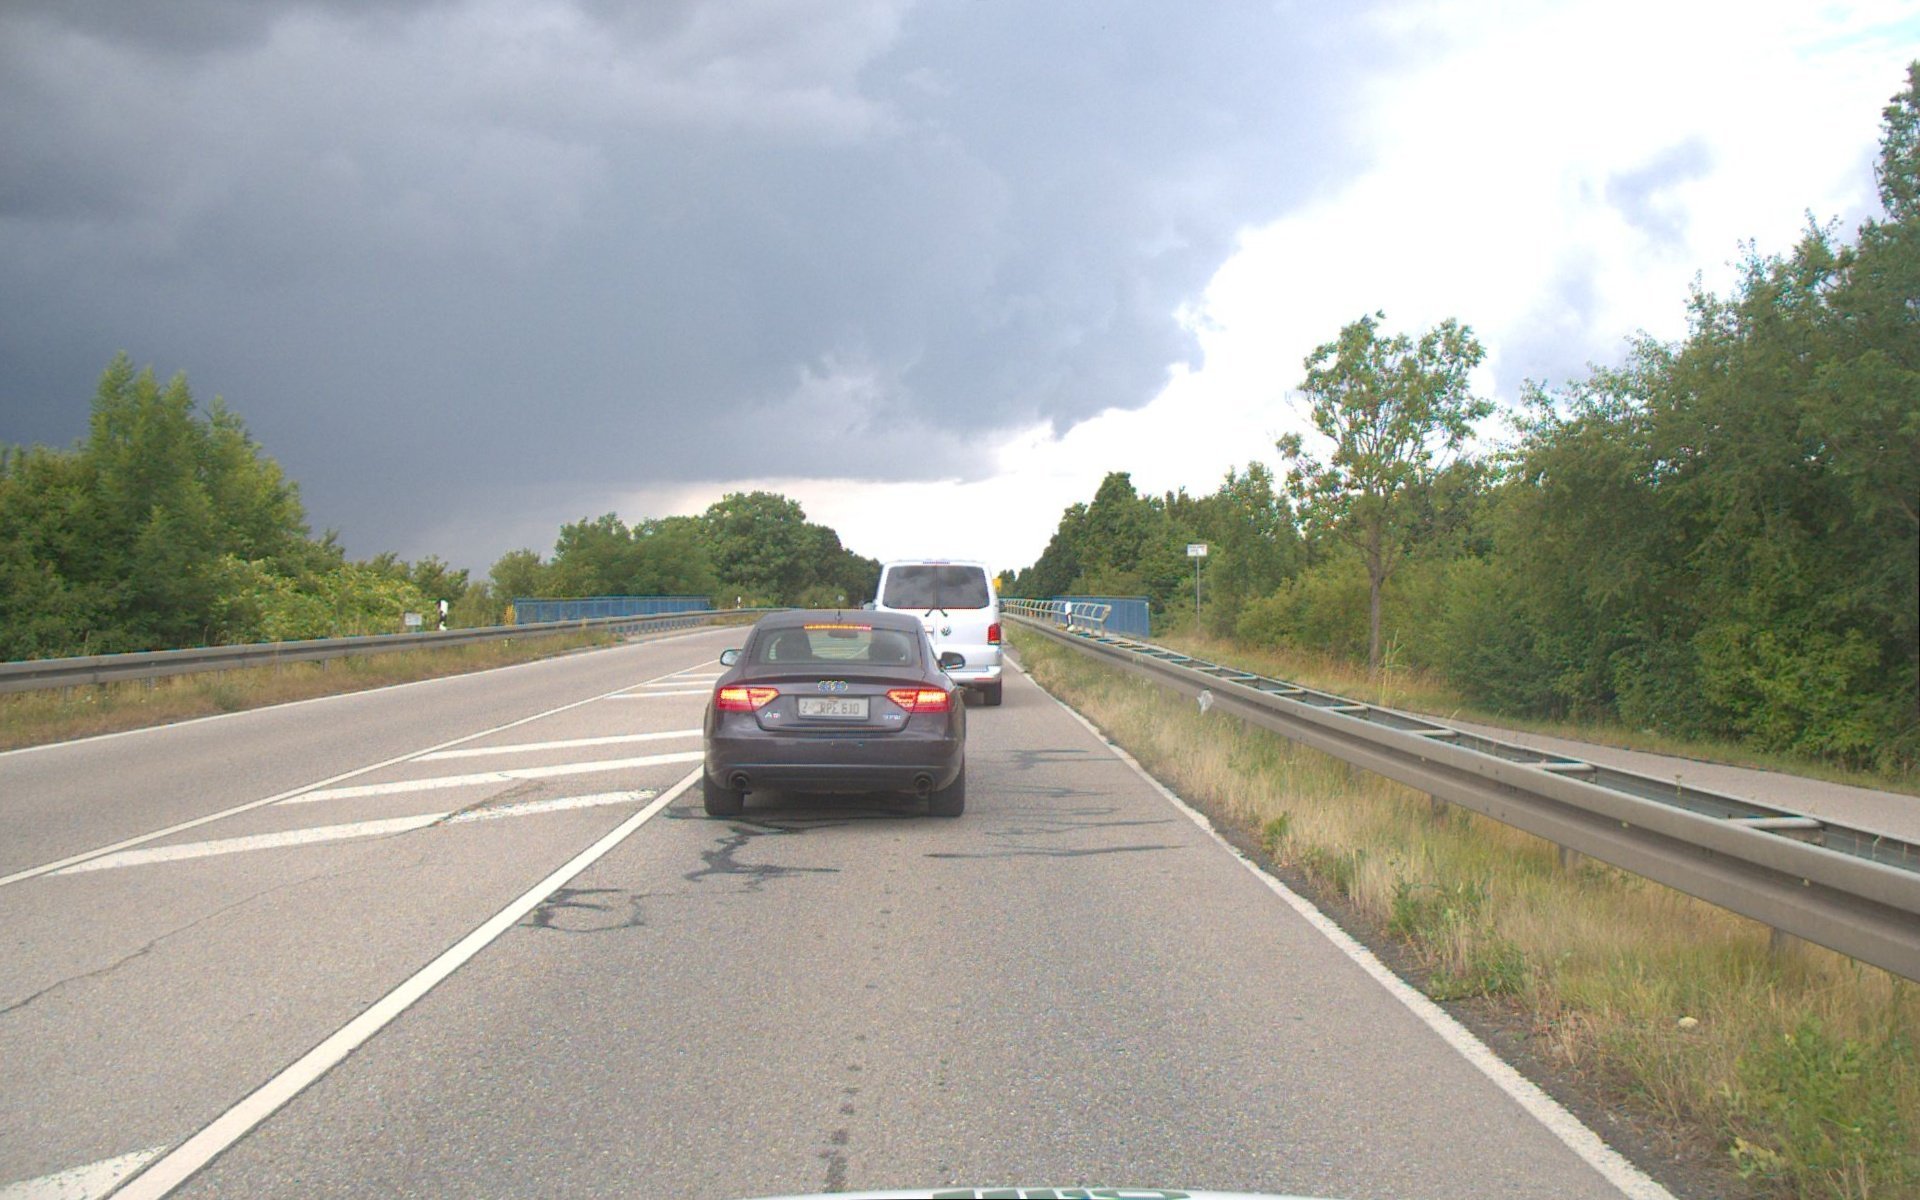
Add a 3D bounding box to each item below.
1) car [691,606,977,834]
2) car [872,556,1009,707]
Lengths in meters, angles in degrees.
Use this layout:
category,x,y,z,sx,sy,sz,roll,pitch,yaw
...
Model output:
category,x,y,z,sx,sy,sz,roll,pitch,yaw
car,-0.823,0.760,12.448,1.784,1.405,4.071,0,0,-1
car,-0.288,0.418,23.784,1.791,1.969,3.999,0,0,-1
